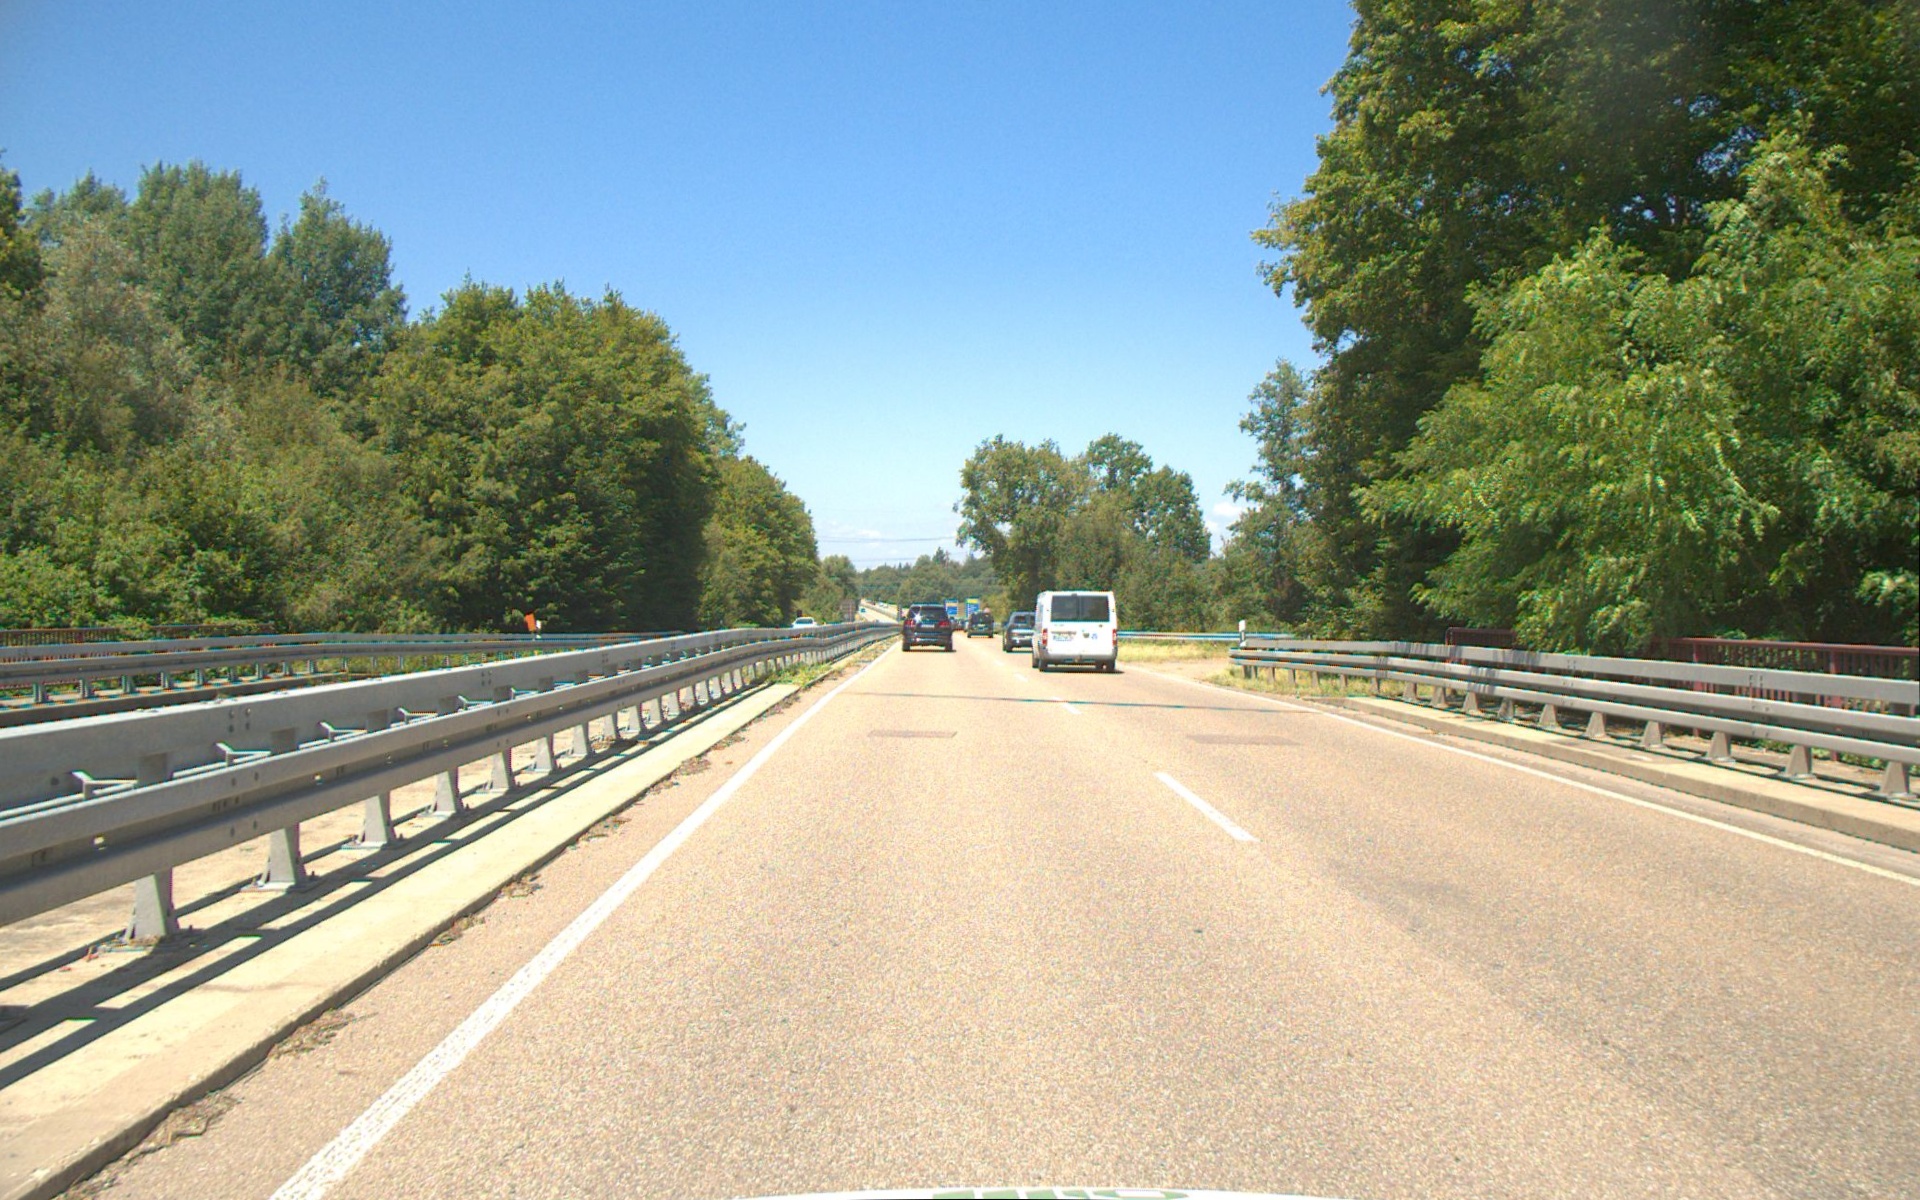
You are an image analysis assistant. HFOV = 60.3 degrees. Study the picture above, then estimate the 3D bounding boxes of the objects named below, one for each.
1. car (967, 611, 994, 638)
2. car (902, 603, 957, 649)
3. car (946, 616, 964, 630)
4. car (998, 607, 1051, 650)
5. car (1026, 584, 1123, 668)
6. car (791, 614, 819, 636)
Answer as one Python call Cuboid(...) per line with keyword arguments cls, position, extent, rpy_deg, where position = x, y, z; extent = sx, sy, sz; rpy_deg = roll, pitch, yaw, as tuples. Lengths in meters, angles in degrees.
Cuboid(cls="car", position=(1.415, 1.698, 116.746), extent=(1.744, 1.848, 4.212), rpy_deg=(-1, 0, -1))
Cuboid(cls="car", position=(-1.187, 0.959, 62.949), extent=(1.954, 1.683, 3.998), rpy_deg=(0, 0, -3))
Cuboid(cls="car", position=(-0.542, 2.535, 181.293), extent=(1.783, 1.439, 3.998), rpy_deg=(-2, 0, -2))
Cuboid(cls="car", position=(2.461, 1.067, 63.873), extent=(1.749, 1.580, 4.017), rpy_deg=(0, 0, -2))
Cuboid(cls="car", position=(2.878, 0.682, 42.724), extent=(1.965, 2.024, 5.031), rpy_deg=(0, -1, -2))
Cuboid(cls="car", position=(-12.030, 1.949, 128.832), extent=(1.781, 1.627, 4.839), rpy_deg=(-2, 0, -1))
